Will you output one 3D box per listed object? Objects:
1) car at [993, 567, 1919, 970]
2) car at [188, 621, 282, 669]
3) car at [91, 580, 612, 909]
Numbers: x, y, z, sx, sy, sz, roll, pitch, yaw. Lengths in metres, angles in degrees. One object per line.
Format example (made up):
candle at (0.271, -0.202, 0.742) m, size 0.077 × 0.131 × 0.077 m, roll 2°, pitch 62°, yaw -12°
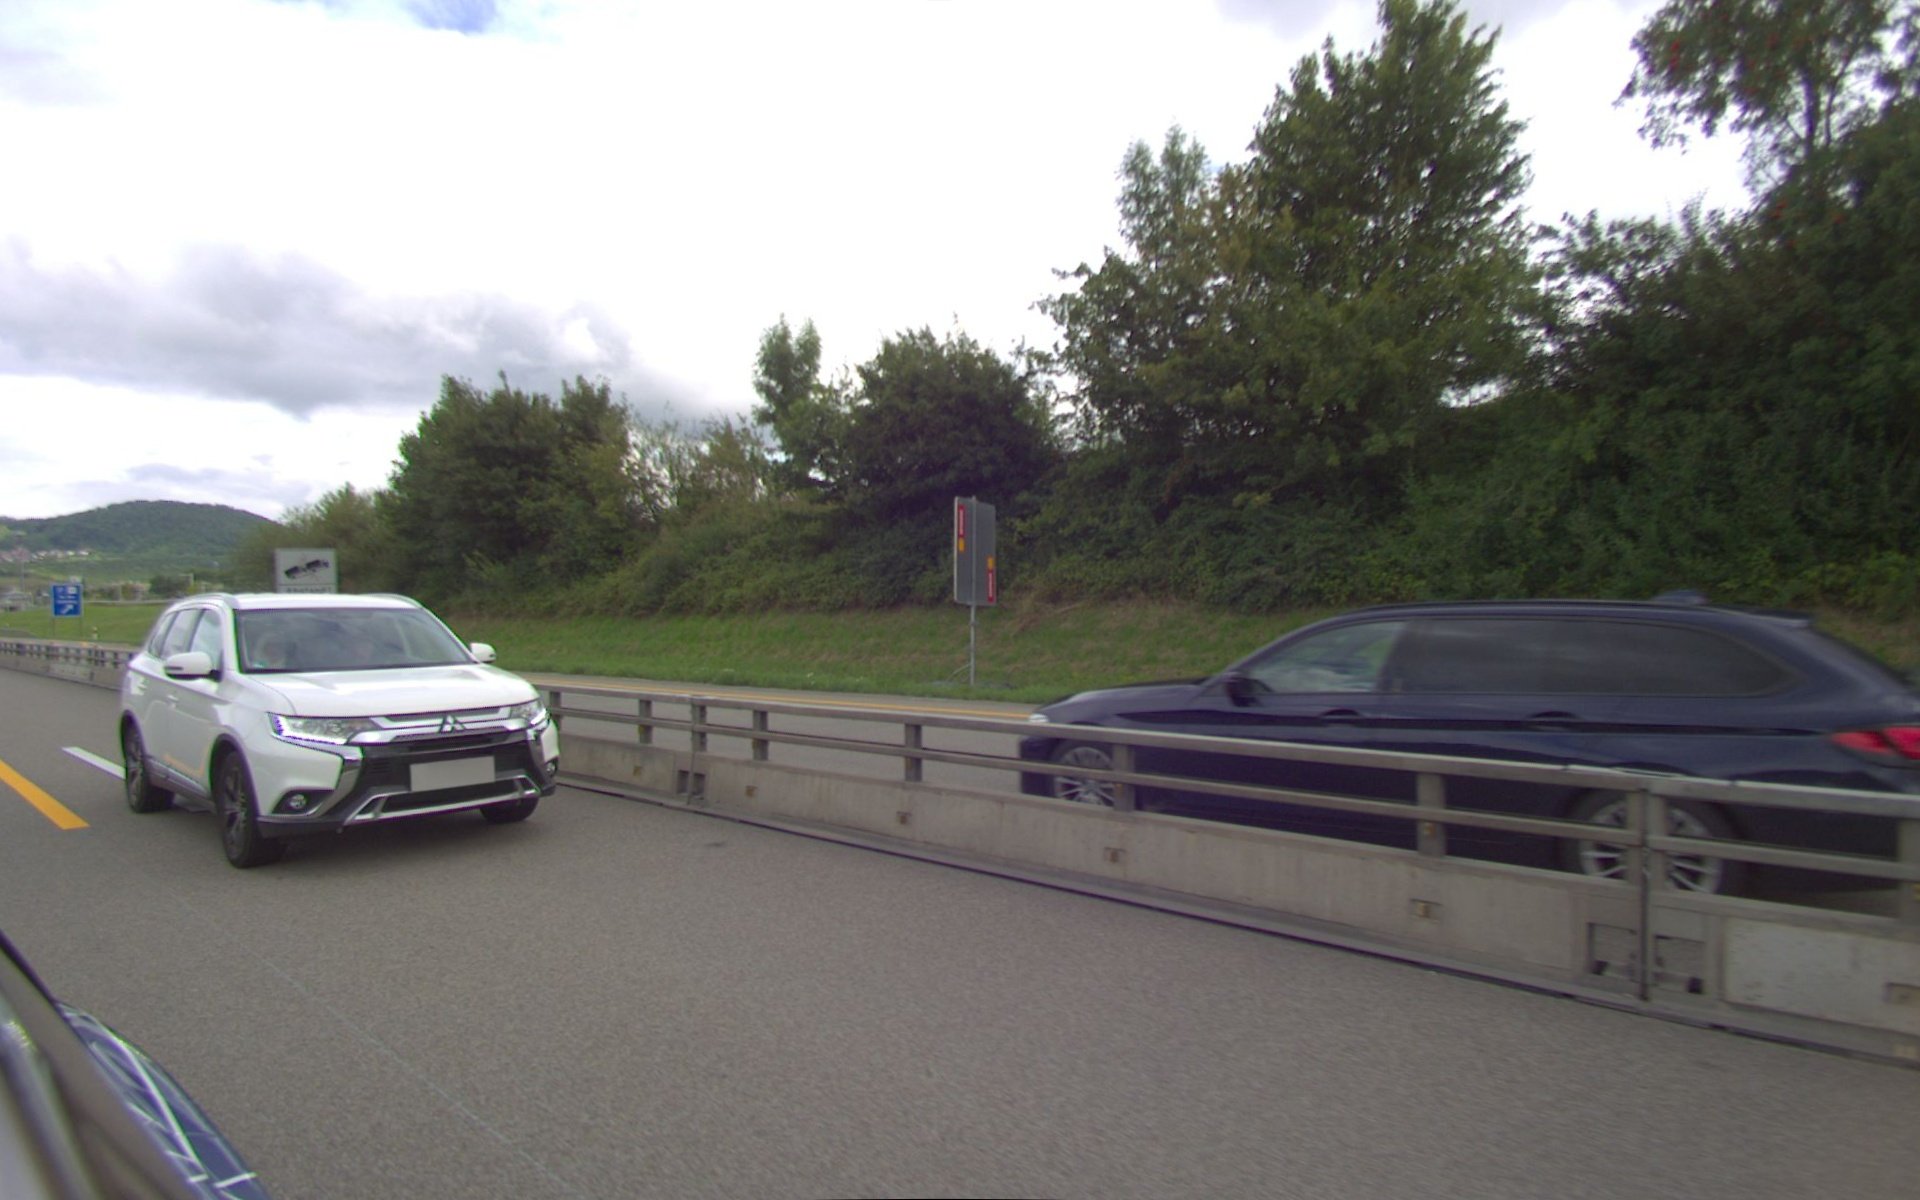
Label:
car at (2.728, 0.670, 5.800) m, size 4.895 × 1.511 × 1.979 m, roll -1°, pitch -1°, yaw 39°
car at (-23.646, 1.419, 32.965) m, size 3.785 × 1.451 × 1.651 m, roll -1°, pitch -1°, yaw 41°
car at (-4.613, 0.773, 7.336) m, size 4.605 × 1.640 × 1.972 m, roll -2°, pitch -2°, yaw 42°
